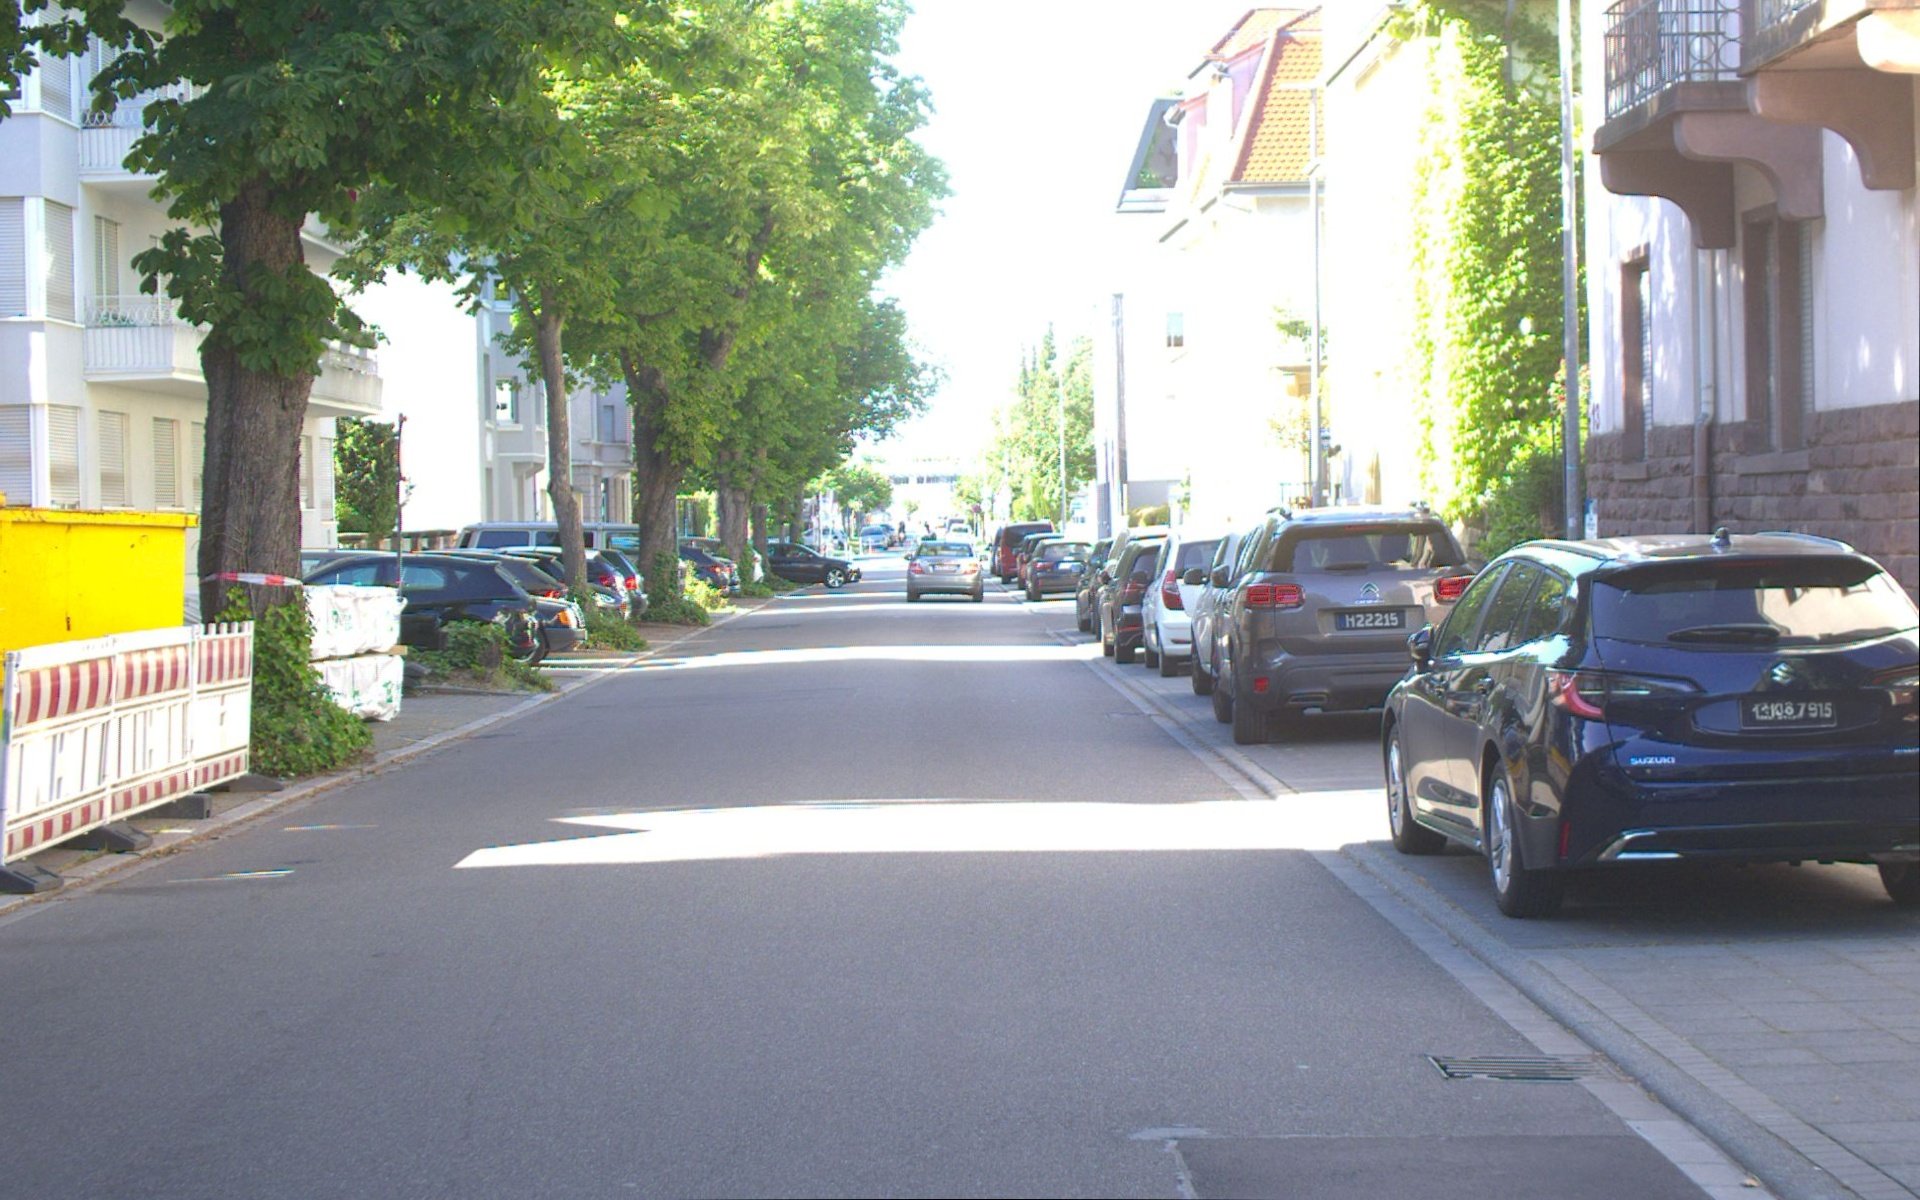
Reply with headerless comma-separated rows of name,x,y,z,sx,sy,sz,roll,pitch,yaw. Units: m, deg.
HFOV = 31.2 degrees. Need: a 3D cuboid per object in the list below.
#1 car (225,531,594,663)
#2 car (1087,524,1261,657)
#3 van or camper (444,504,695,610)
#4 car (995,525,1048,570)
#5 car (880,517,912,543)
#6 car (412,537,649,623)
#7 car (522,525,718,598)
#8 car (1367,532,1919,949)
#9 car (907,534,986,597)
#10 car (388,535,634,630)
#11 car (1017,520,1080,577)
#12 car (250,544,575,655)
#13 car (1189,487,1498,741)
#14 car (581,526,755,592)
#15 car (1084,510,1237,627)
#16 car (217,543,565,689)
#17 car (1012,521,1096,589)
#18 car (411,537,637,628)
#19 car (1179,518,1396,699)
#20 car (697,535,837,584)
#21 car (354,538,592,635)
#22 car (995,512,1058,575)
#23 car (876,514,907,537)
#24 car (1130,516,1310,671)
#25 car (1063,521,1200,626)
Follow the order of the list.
car,-7.101,-0.066,44.479,4.588,1.601,1.834,-1,1,-9
car,2.537,-0.119,41.596,1.709,1.431,4.193,-3,0,-1
van or camper,-7.347,-0.821,64.945,4.497,1.908,1.964,-1,1,0
car,2.168,-1.886,122.177,1.737,1.526,4.179,-1,1,0
car,-4.390,-4.771,234.906,1.872,1.722,4.001,-1,1,-5
car,-7.399,-0.352,59.440,3.921,1.410,1.716,1,2,-2
car,-7.547,-0.866,76.522,4.186,1.493,1.861,-1,1,-1
car,2.801,0.455,14.407,1.643,1.449,4.503,-1,1,0
car,-0.293,-0.824,80.848,1.727,1.415,3.960,-1,1,2
car,-7.099,-0.288,54.563,3.644,1.458,1.710,1,1,2
car,2.467,-1.453,96.519,1.592,1.475,3.247,-3,1,-1
car,-7.443,-0.021,47.021,4.187,1.436,1.713,-1,1,-1
car,2.736,0.084,25.411,1.778,1.690,4.320,1,0,0
car,-6.909,-0.976,81.639,3.987,1.463,1.697,-1,1,-1
car,2.786,-0.432,48.525,1.791,1.515,4.367,-2,0,-1
car,-6.626,0.163,40.171,3.869,1.509,1.833,-2,1,-9
car,2.164,-1.069,79.644,1.619,1.435,3.935,-4,2,-2
car,-7.189,-0.299,56.915,3.478,1.453,1.797,1,1,1
car,2.884,0.066,30.738,1.625,1.544,2.869,0,0,-1
car,-5.998,-1.250,106.968,4.189,1.443,1.712,1,0,2
car,-7.333,-0.206,52.049,3.477,1.416,1.710,0,0,-5
car,2.089,-1.782,109.149,1.871,1.898,5.197,-2,1,1
car,-4.837,-5.240,241.665,1.786,1.527,4.001,-1,1,-6
car,2.776,-0.073,37.300,1.575,1.544,3.469,-2,0,-1
car,2.651,-0.404,53.904,1.662,1.515,4.002,-2,0,-3
